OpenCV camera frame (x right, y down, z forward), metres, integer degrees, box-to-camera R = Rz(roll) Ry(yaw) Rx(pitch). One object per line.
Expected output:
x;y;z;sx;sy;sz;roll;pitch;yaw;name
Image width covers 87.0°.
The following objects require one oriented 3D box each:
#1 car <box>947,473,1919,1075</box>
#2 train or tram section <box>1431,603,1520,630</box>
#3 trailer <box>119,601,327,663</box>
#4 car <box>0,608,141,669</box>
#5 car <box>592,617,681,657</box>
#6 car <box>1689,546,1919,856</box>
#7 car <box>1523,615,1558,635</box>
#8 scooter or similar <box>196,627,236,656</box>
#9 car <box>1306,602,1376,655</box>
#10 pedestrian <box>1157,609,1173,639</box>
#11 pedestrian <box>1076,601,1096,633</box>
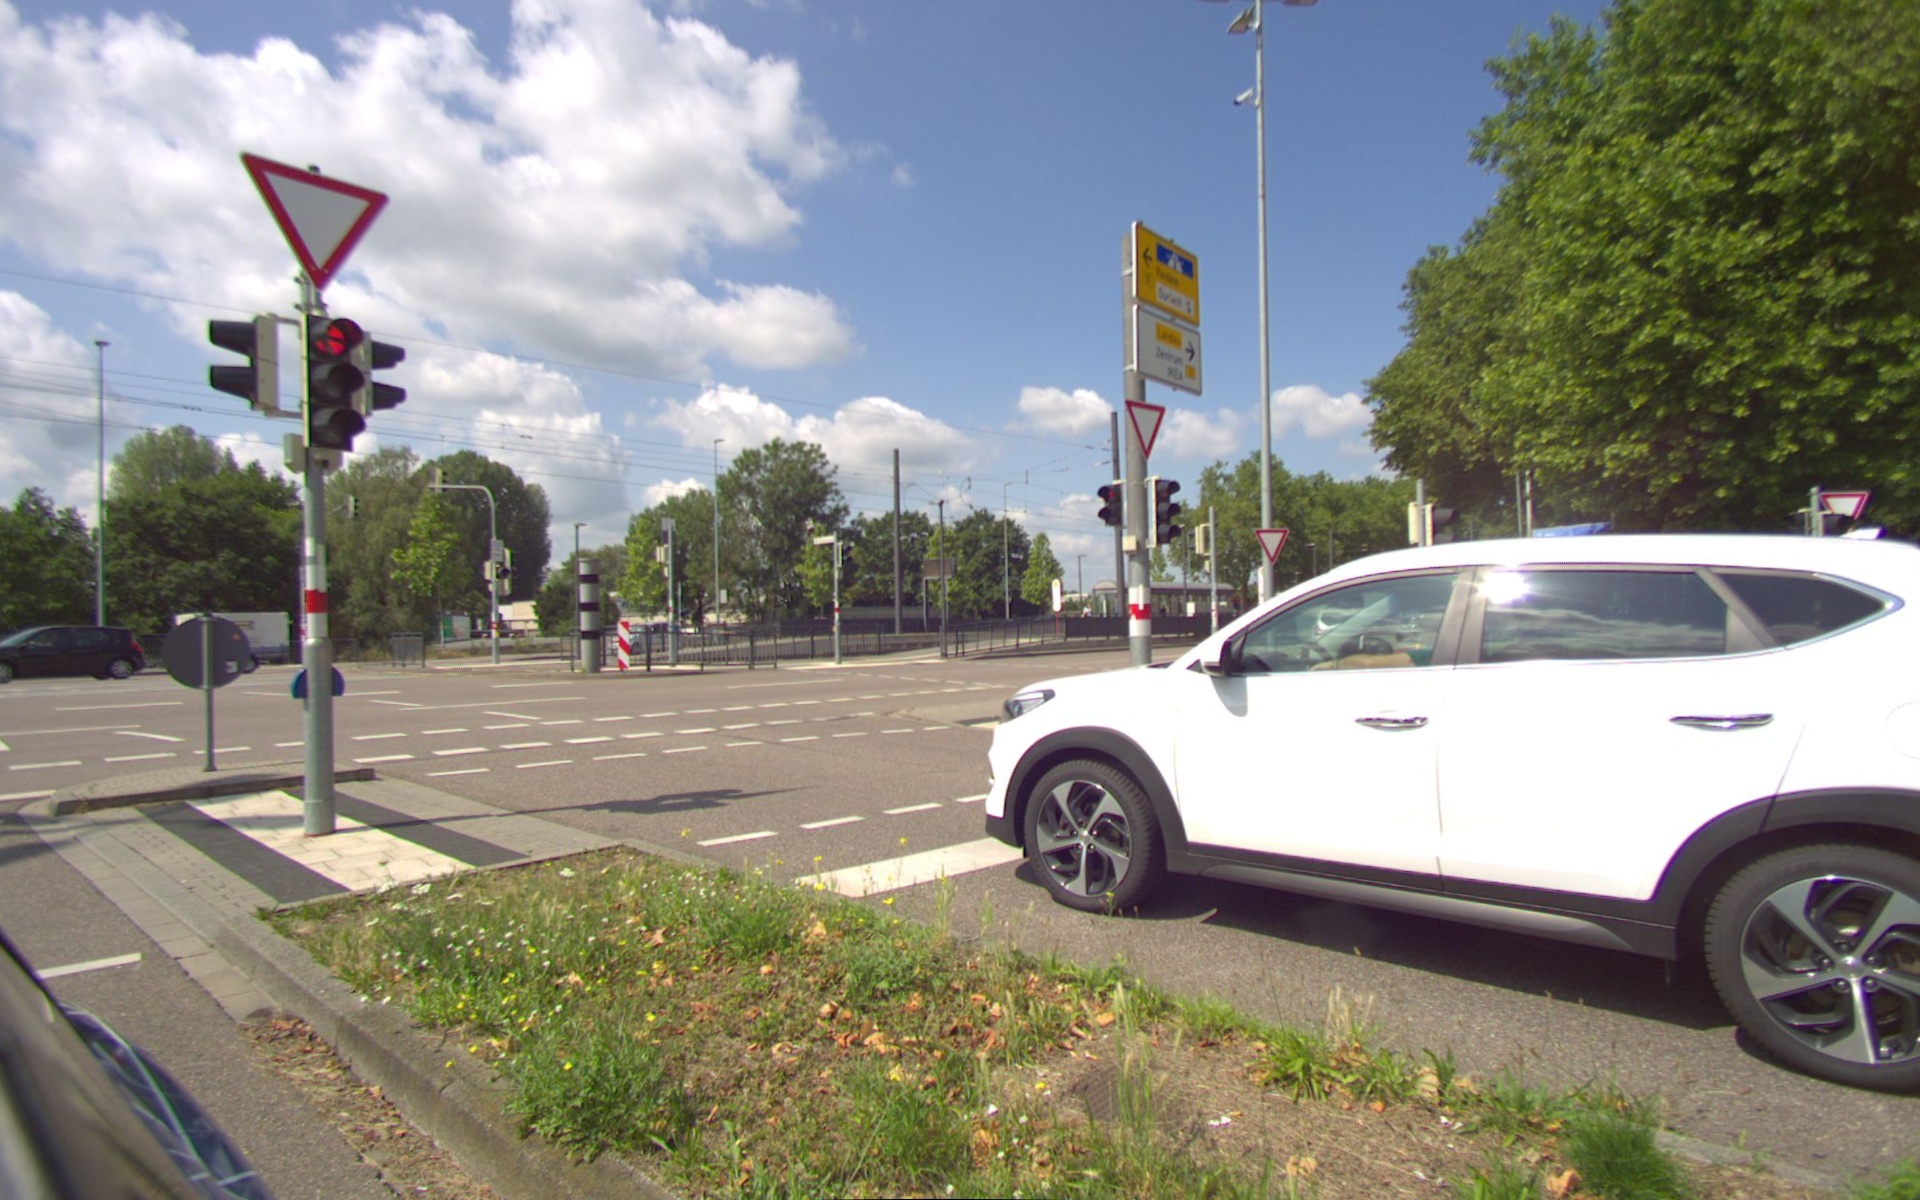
2.149;0.492;4.264;4.375;1.632;1.690;0;-2;41;car
64.689;2.203;126.376;4.526;3.055;24.794;-2;-2;40;train or tram section
-23.521;0.956;32.523;1.820;1.845;5.122;0;0;34;trailer
-26.323;1.085;28.116;1.995;1.586;5.192;-2;-1;34;car
-14.532;1.622;45.541;1.701;1.466;3.444;2;4;41;car
6.371;0.567;5.308;3.998;1.627;1.752;1;-2;41;car
48.136;2.040;83.844;1.997;1.608;3.950;-1;-2;37;car
-29.634;1.647;40.322;0.343;1.107;1.233;-2;-1;38;scooter or similar
13.470;0.963;35.986;2.005;1.736;4.227;-2;-1;17;car
12.750;1.477;62.920;0.759;1.867;0.783;-2;-2;33;pedestrian
6.899;0.932;55.425;0.760;1.722;0.782;-2;-2;36;pedestrian
